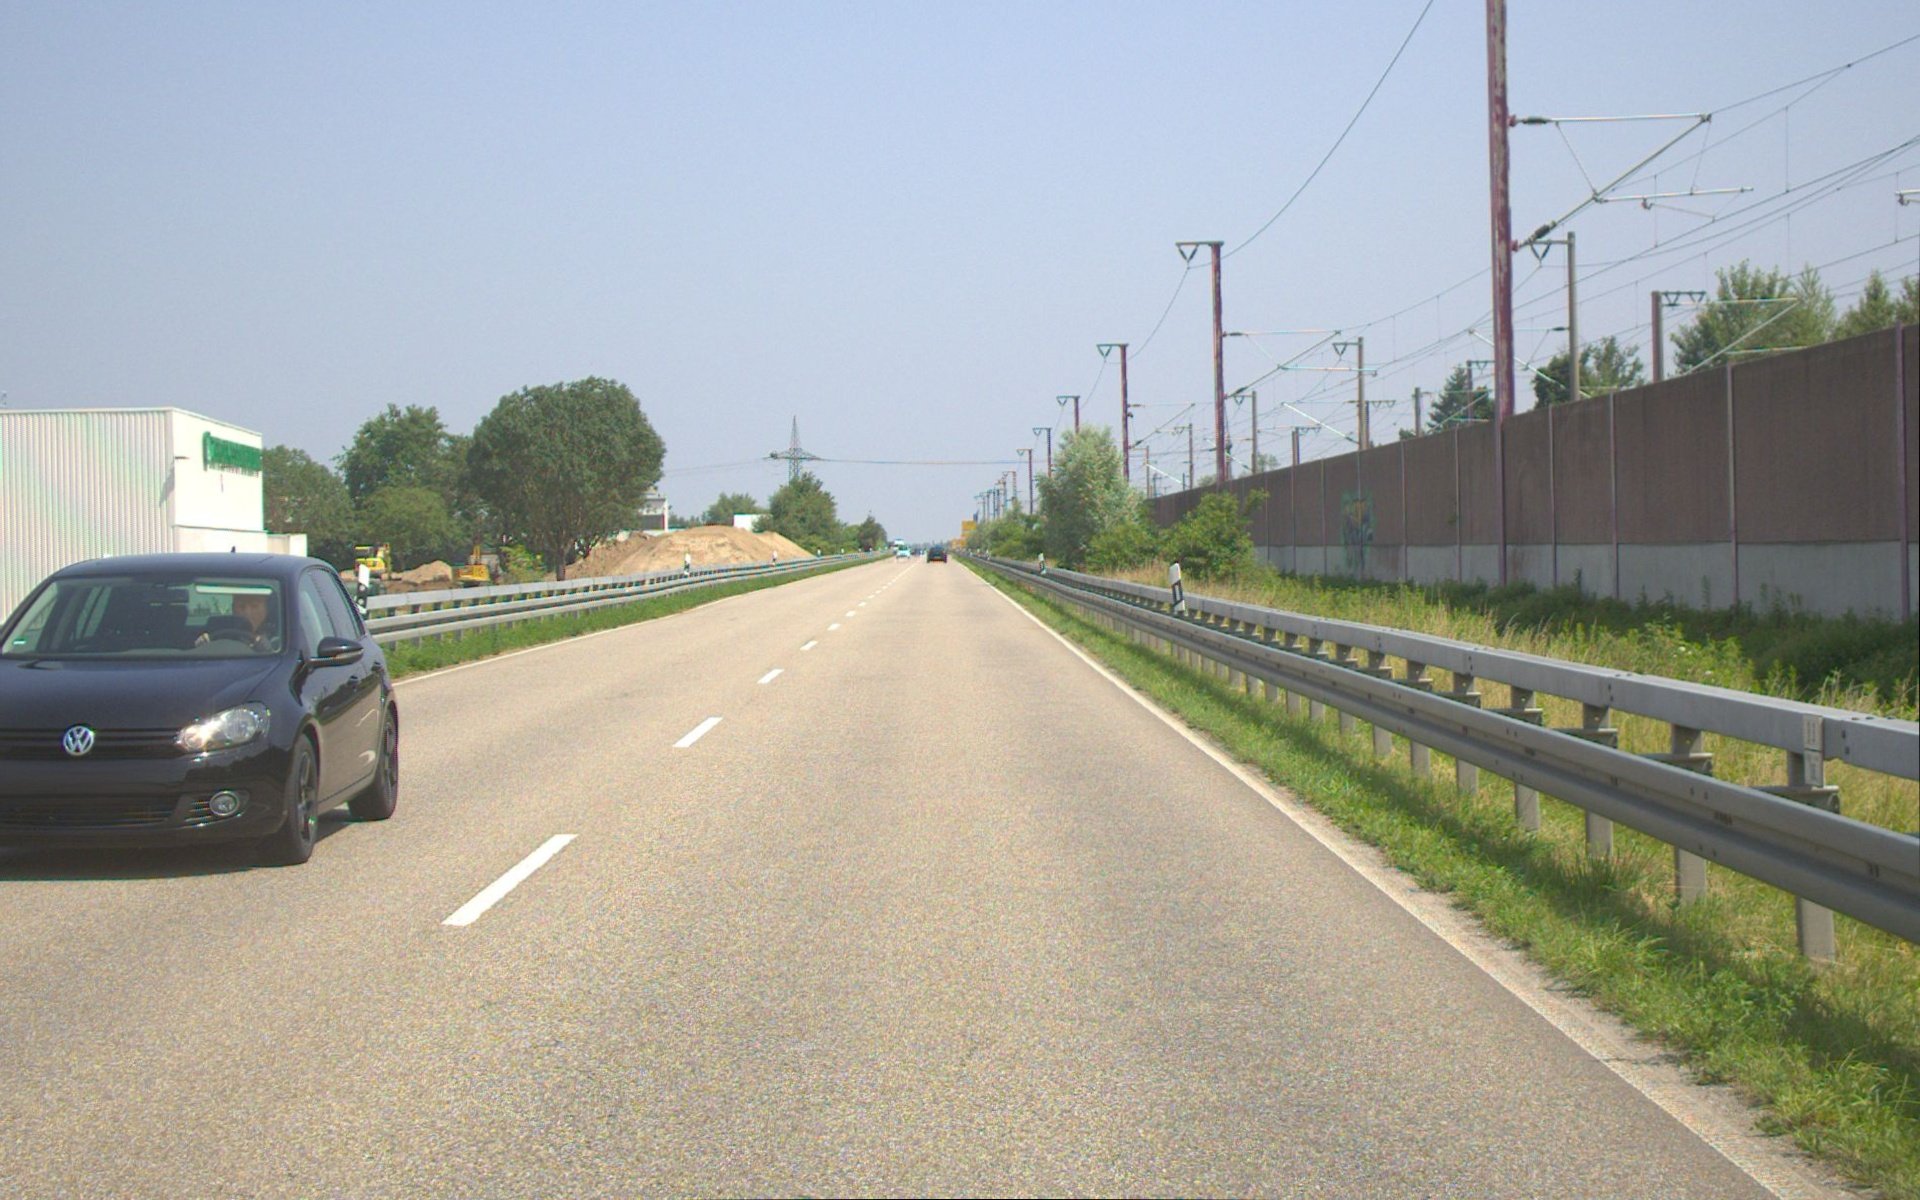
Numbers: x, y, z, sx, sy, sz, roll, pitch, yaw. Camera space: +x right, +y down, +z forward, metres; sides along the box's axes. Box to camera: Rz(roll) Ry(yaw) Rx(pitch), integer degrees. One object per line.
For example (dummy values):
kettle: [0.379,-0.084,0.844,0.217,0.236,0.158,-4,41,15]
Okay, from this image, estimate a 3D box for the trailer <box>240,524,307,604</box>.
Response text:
trailer: [-37.978,-2.054,190.476,2.678,4.317,7.954,0,2,-4]

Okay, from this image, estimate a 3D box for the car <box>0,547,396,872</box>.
car: [-3.870,0.463,17.233,1.540,1.430,3.655,0,1,-1]
